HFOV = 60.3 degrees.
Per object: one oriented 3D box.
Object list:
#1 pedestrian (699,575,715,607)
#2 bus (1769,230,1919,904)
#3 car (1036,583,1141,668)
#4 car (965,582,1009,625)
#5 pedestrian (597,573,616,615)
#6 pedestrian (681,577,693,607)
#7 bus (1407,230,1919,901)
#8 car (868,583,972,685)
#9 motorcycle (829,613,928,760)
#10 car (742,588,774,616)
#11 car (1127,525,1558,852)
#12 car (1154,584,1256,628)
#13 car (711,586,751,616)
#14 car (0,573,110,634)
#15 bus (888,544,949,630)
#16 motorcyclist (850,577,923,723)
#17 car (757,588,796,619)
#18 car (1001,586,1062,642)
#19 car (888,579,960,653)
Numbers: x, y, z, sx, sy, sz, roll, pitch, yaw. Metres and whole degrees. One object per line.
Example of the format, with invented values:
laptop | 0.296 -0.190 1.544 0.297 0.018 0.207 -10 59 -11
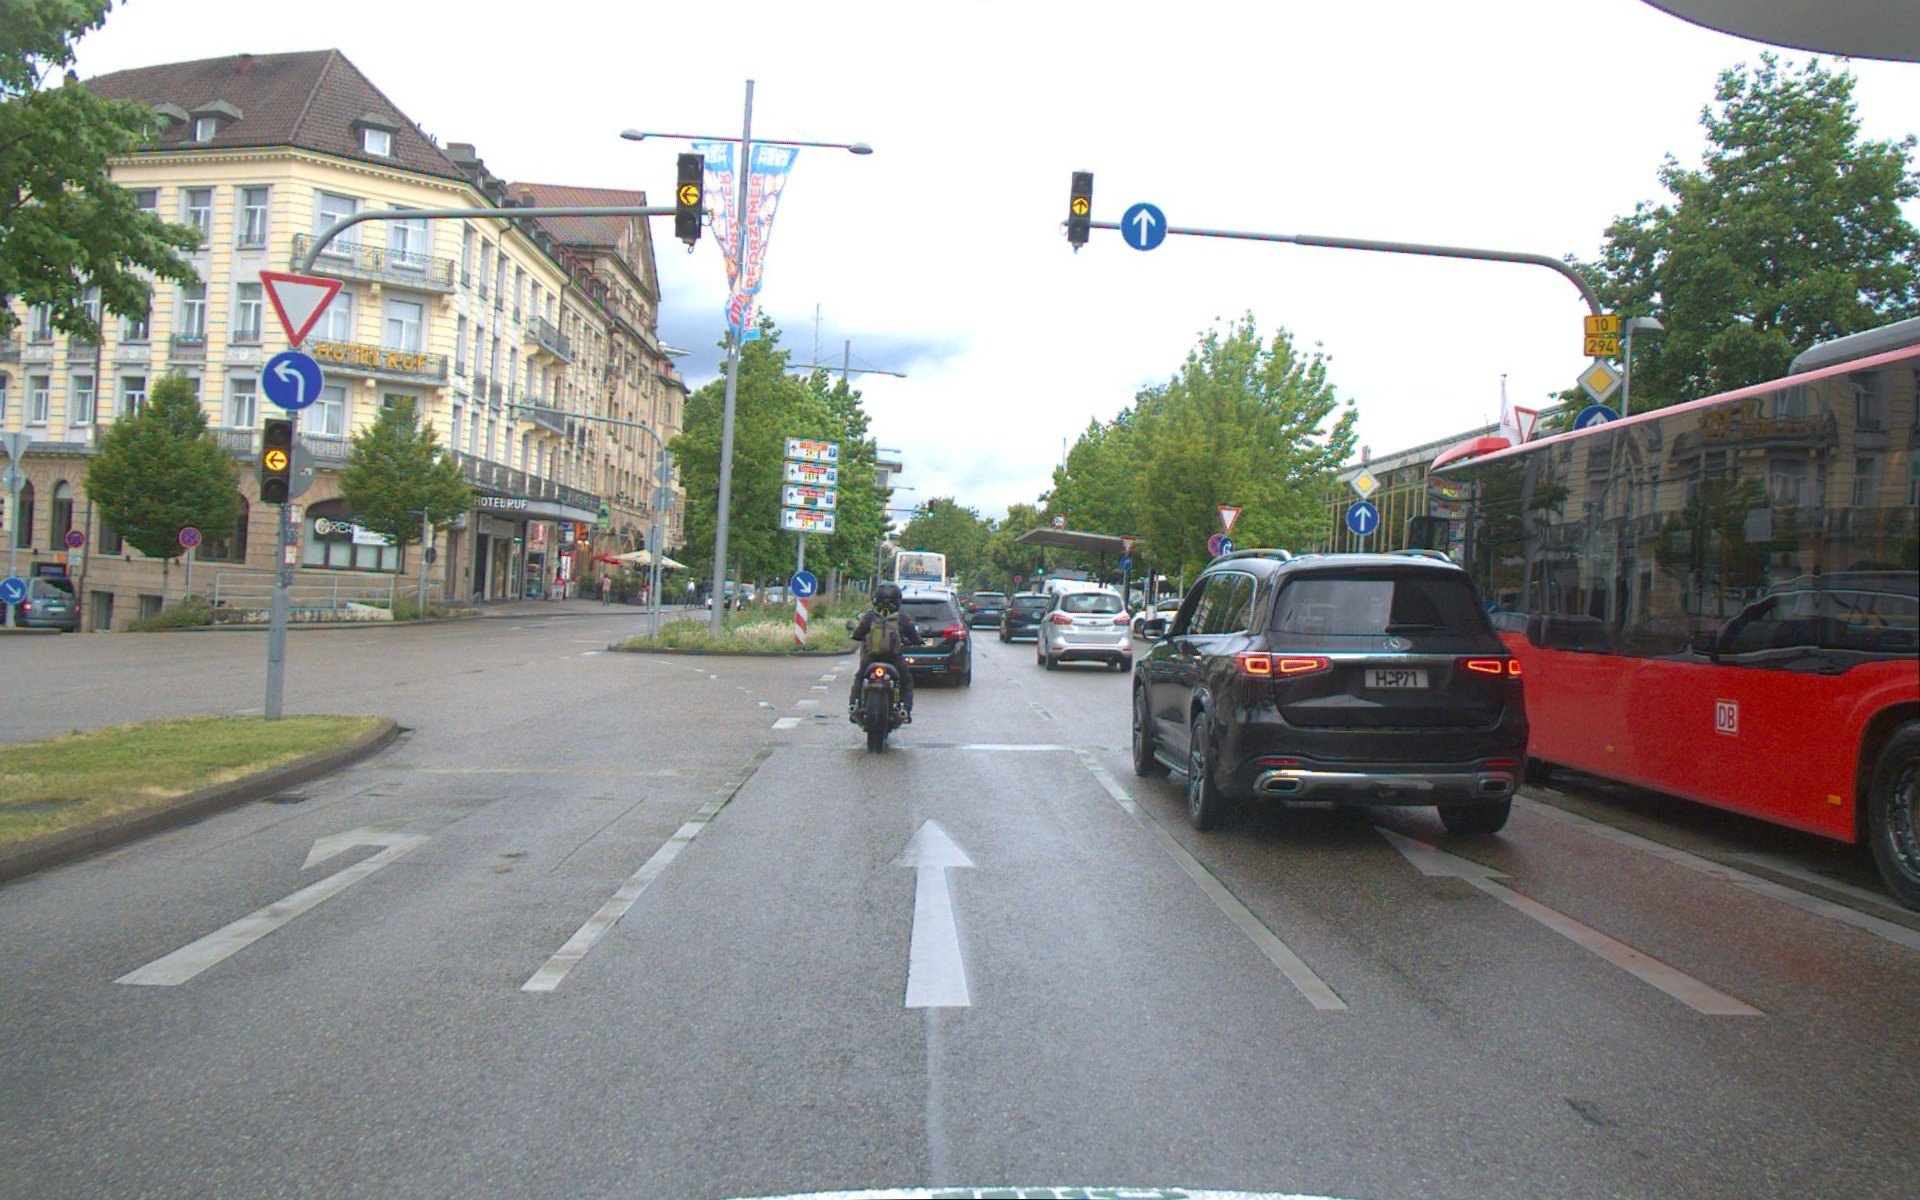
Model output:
pedestrian | -15.728 -0.572 102.917 0.715 2.000 0.819 1 0 -28
bus | 6.431 -0.128 4.228 3.219 3.349 10.875 1 0 -1
car | 2.504 0.468 33.111 1.706 1.594 3.870 0 0 -2
car | 1.007 0.125 64.140 1.544 1.594 3.795 0 0 -2
pedestrian | -17.558 -0.310 82.192 0.715 2.049 0.819 1 0 -28
pedestrian | -16.806 -0.503 101.826 0.550 1.809 0.497 1 0 33
bus | 6.317 -0.151 12.681 3.224 3.346 8.847 1 0 -1
car | -0.626 0.496 26.650 1.543 1.531 3.870 0 0 -1
motorcycle | -0.744 0.778 15.709 0.776 1.284 1.855 1 0 2
car | -11.650 0.104 95.467 1.544 1.594 3.429 0 0 -2
car | 2.491 0.503 12.123 1.918 1.909 4.872 0 0 -2
car | 9.223 0.206 62.492 1.566 1.594 3.740 0 0 -40
car | -12.315 0.055 89.078 1.744 1.594 3.429 0 0 -2
car | -28.584 0.102 52.058 2.103 1.807 4.322 2 0 -44
bus | -2.198 -0.590 85.524 2.780 4.057 11.858 2 0 -2
motorcyclist | -0.706 0.472 16.050 0.628 1.371 0.689 1 0 2
car | -9.674 0.161 87.399 1.744 1.594 3.429 0 0 -2
car | 2.073 0.374 48.997 1.544 1.594 3.870 0 0 -2
car | -0.831 0.328 37.575 1.544 1.594 3.870 0 0 -2
